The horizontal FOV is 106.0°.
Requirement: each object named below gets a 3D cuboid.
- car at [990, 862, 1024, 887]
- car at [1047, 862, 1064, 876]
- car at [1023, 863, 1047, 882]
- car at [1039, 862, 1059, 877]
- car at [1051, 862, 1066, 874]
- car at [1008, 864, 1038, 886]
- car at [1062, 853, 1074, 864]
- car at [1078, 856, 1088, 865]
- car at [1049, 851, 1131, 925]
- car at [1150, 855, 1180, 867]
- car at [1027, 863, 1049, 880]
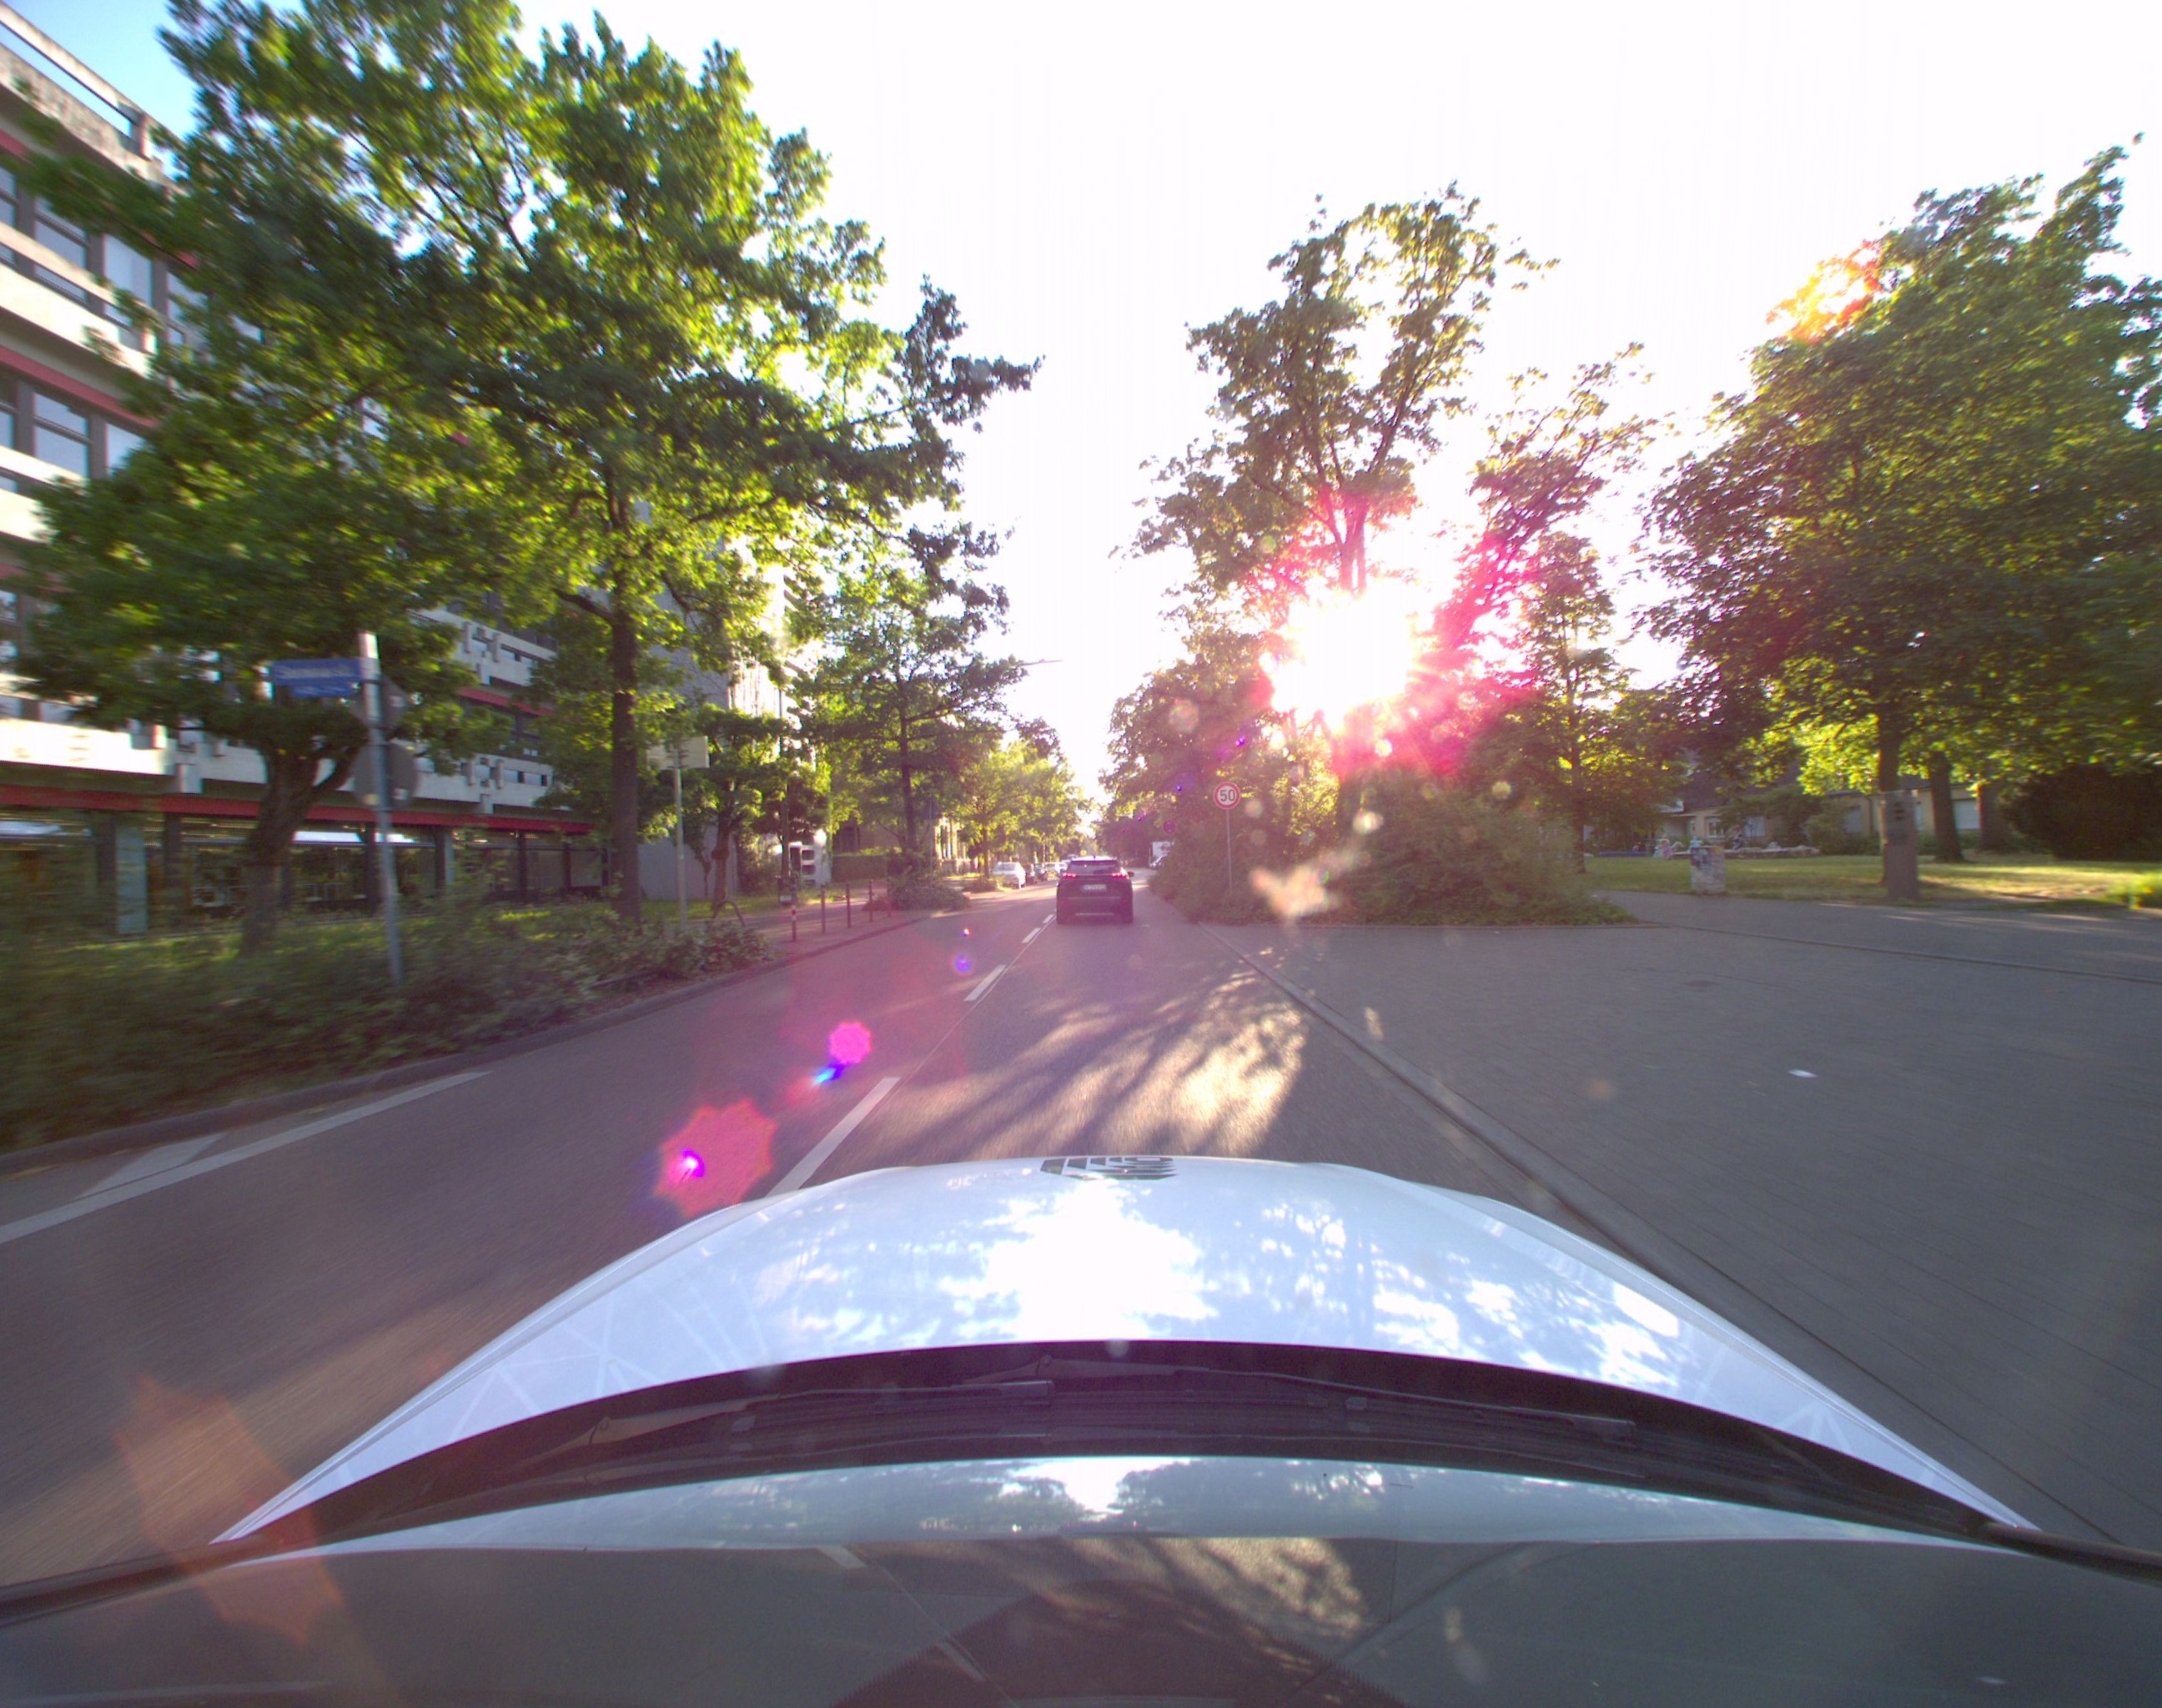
[{"bbox_3d":[-4.348,1.191,48.477,1.806,1.354,3.995,-2,0,-3],"label":"car"},{"bbox_3d":[-2.798,1.620,88.552,1.806,1.354,3.976,-2,0,-2],"label":"car"},{"bbox_3d":[-3.721,1.458,66.047,1.806,1.354,3.997,-2,0,-2],"label":"car"},{"bbox_3d":[-3.170,1.565,81.196,1.806,1.354,3.997,-2,0,-2],"label":"car"},{"bbox_3d":[-2.743,1.684,98.614,1.806,1.354,3.997,-2,0,-2],"label":"car"},{"bbox_3d":[-3.832,1.385,54.713,1.806,1.354,3.997,-2,0,-2],"label":"car"},{"bbox_3d":[-2.447,0.877,153.341,1.900,1.867,3.950,-2,0,2],"label":"car"},{"bbox_3d":[0.451,1.479,173.850,1.898,1.868,3.953,1,0,4],"label":"car"},{"bbox_3d":[0.239,0.756,19.652,1.762,1.568,3.381,-2,0,1],"label":"car"},{"bbox_3d":[12.111,1.034,117.775,3.977,1.582,1.815,-2,0,-3],"label":"car"},{"bbox_3d":[-3.750,1.495,71.960,1.806,1.354,3.997,-2,0,-2],"label":"car"}]
